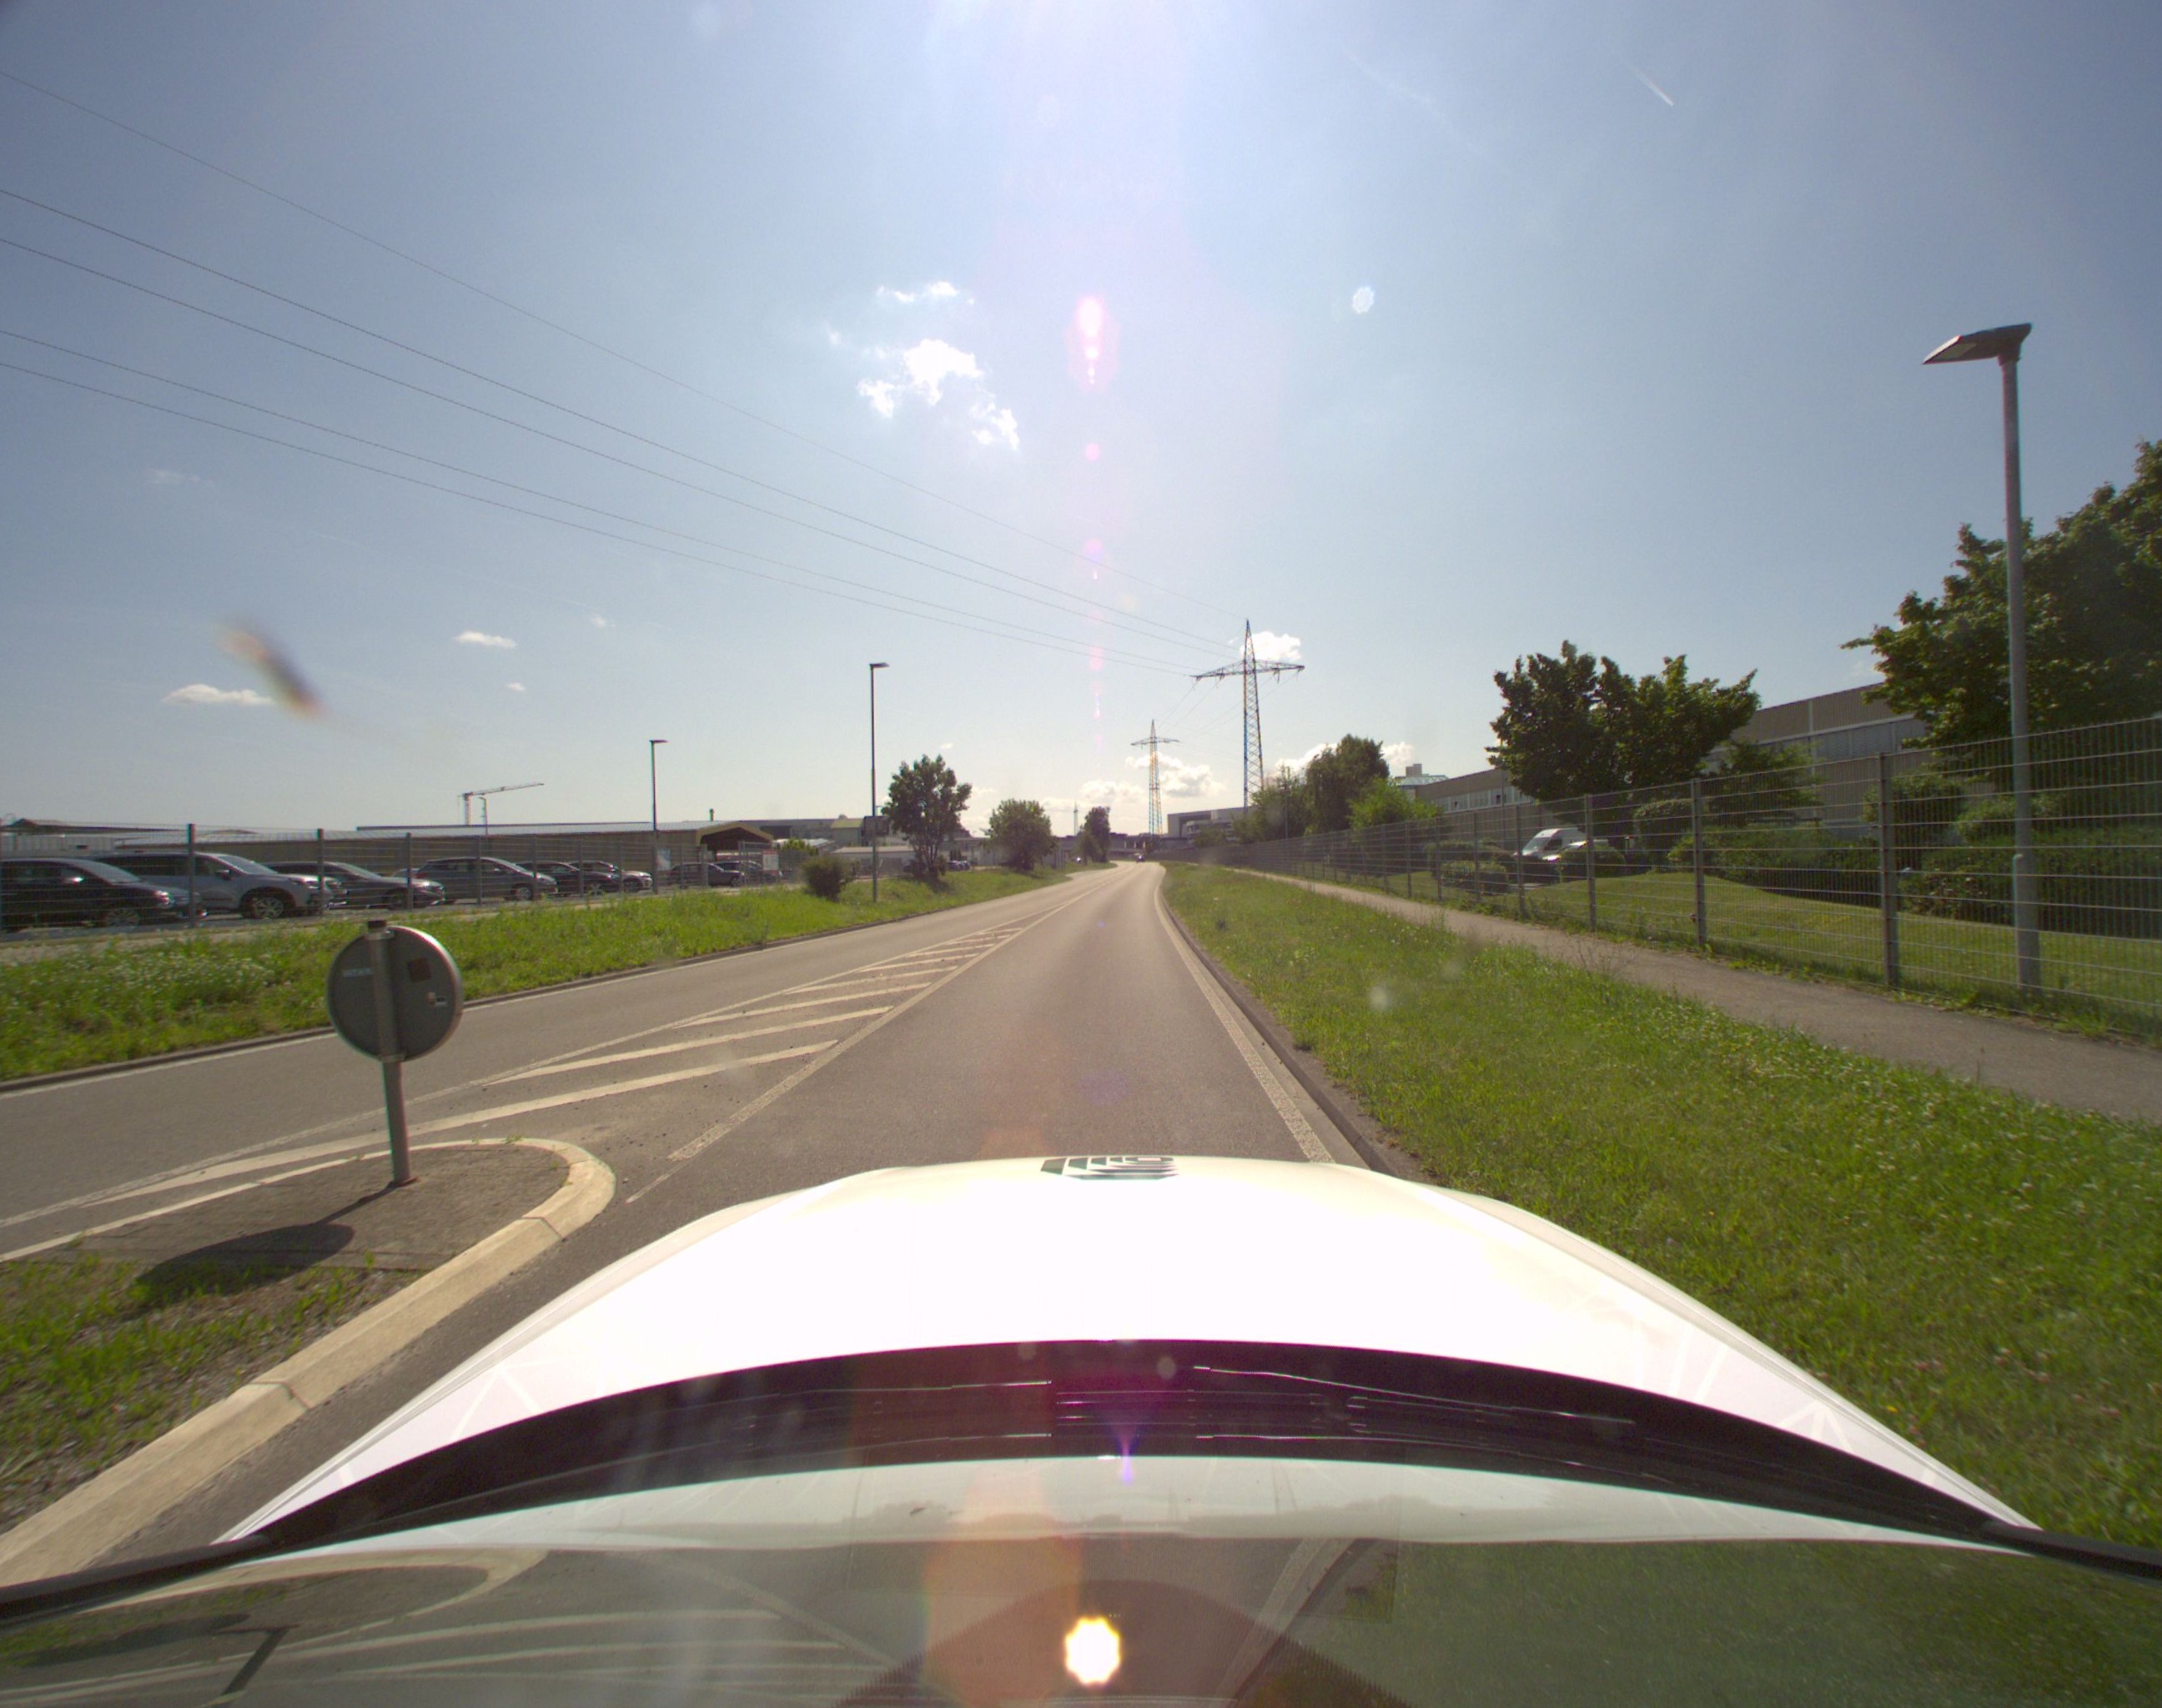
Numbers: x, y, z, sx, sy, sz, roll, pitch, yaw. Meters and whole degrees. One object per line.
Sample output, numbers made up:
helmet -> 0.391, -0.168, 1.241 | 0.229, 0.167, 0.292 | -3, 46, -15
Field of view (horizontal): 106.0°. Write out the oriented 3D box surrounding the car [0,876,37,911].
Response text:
car -> -55.799, 2.013, 40.976 | 3.972, 1.694, 2.001 | -1, 0, 2

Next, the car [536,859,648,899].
car -> -20.942, 1.040, 35.081 | 4.010, 1.540, 1.925 | -1, 0, -28

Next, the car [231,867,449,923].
car -> -19.981, 1.054, 22.221 | 4.010, 1.310, 1.925 | -1, 0, -28

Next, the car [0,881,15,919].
car -> -39.424, 1.653, 27.287 | 4.010, 1.310, 1.925 | -1, 0, -28

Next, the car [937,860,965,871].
car -> -19.795, 1.715, 123.939 | 3.975, 1.555, 1.665 | -1, 0, -1

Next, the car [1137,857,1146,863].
car -> 14.322, 1.375, 192.517 | 2.004, 1.508, 4.002 | -1, 0, 2

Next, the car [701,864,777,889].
car -> -20.288, 1.324, 48.328 | 4.010, 1.310, 1.925 | -1, 0, -28

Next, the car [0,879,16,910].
car -> -51.823, 1.923, 36.914 | 1.872, 1.442, 3.995 | -1, 0, -3

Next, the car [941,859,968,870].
car -> -20.199, 1.736, 130.301 | 3.975, 1.640, 1.999 | -1, 0, -1

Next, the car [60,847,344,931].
car -> -20.146, 0.743, 18.947 | 4.119, 1.704, 1.707 | -1, 0, -28

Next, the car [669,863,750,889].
car -> -20.638, 1.207, 45.257 | 4.010, 1.310, 1.925 | -1, 0, -28

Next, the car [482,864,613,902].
car -> -20.632, 1.087, 31.713 | 4.008, 1.310, 1.926 | -1, 0, -26

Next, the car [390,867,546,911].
car -> -20.961, 1.166, 28.085 | 4.010, 1.310, 1.925 | -1, 0, -28

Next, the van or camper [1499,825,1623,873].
van or camper -> 26.706, -0.272, 45.442 | 5.755, 2.518, 1.999 | 1, -1, -2

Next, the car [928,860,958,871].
car -> -20.277, 1.638, 119.585 | 3.975, 1.528, 1.999 | -1, 0, -1

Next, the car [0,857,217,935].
car -> -19.923, 0.802, 16.008 | 3.573, 1.401, 1.787 | -1, -1, -23
